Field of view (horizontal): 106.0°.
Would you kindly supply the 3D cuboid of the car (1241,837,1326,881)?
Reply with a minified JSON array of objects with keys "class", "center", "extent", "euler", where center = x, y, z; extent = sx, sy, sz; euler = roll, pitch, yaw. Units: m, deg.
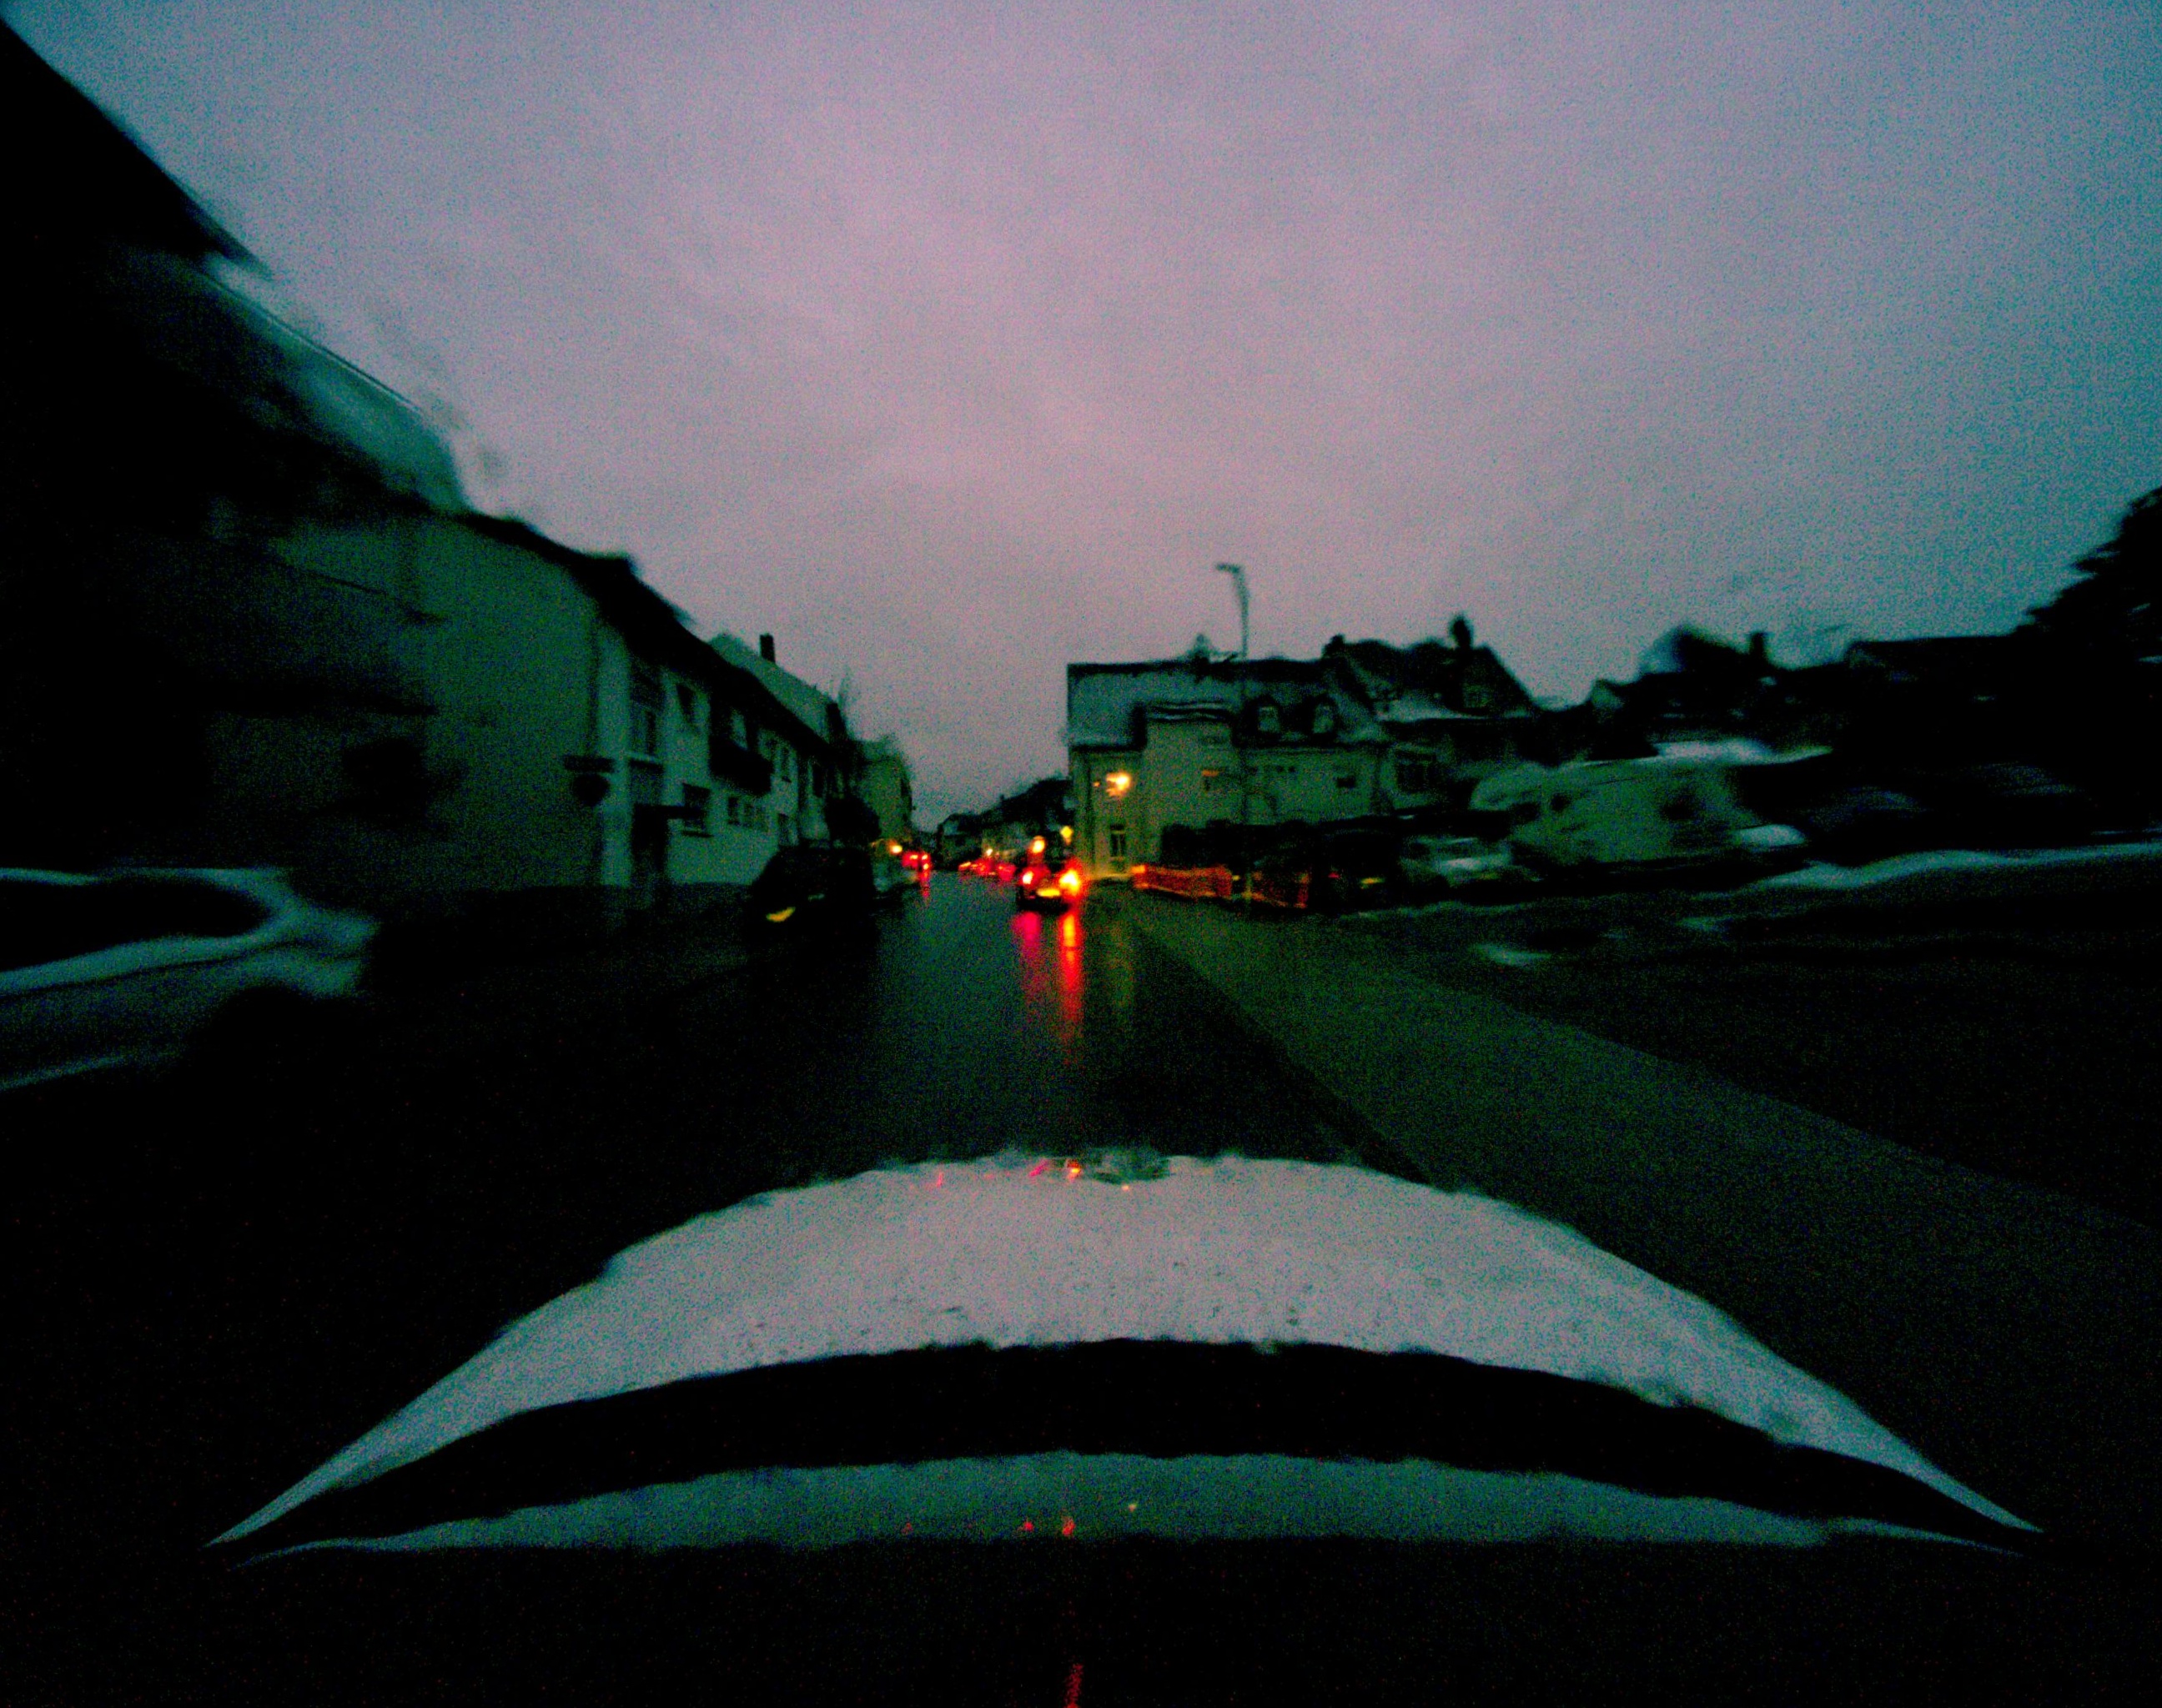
[{"class":"car","center":[7.562,0.177,30.744],"extent":[1.721,1.462,3.621],"euler":[-4,0,-9]}]

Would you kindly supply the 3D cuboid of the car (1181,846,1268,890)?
[{"class":"car","center":[5.153,0.481,29.736],"extent":[1.888,1.462,3.618],"euler":[-2,0,-12]}]

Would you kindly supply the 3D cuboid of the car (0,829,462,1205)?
[{"class":"car","center":[-6.294,0.812,4.141],"extent":[1.985,1.843,5.308],"euler":[-1,0,4]}]

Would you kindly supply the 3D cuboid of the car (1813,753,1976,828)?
[{"class":"car","center":[29.474,-2.215,29.730],"extent":[1.877,2.333,4.259],"euler":[-4,0,6]}]

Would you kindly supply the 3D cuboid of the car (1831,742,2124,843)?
[{"class":"car","center":[20.967,-1.308,19.451],"extent":[1.770,1.884,4.806],"euler":[-5,0,4]}]

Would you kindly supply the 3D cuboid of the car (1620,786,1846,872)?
[{"class":"car","center":[14.904,-0.514,18.949],"extent":[1.784,1.553,3.996],"euler":[-8,0,-2]}]

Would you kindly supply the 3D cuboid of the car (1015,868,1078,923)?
[{"class":"car","center":[-1.168,1.244,25.902],"extent":[1.812,1.533,3.993],"euler":[-1,0,-5]}]

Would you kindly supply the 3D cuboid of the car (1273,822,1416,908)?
[{"class":"car","center":[6.374,0.240,20.270],"extent":[1.988,1.765,4.348],"euler":[-4,0,-1]}]

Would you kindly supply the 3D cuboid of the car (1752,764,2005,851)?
[{"class":"car","center":[18.267,-0.980,18.976],"extent":[1.985,1.606,4.004],"euler":[-6,0,4]}]

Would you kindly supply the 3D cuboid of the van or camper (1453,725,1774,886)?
[{"class":"van or camper","center":[12.363,-0.976,19.856],"extent":[2.649,3.047,6.717],"euler":[-5,0,-7]}]

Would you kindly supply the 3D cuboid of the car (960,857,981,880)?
[{"class":"car","center":[-11.085,1.434,81.736],"extent":[1.992,2.202,3.990],"euler":[-1,0,-7]}]

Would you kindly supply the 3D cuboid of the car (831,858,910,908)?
[{"class":"car","center":[-7.461,0.980,29.309],"extent":[1.908,1.529,4.540],"euler":[2,0,-4]}]

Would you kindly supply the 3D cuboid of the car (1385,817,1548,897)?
[{"class":"car","center":[9.211,0.104,19.890],"extent":[1.986,1.610,4.175],"euler":[-4,-1,1]}]

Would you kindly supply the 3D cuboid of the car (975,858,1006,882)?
[{"class":"car","center":[-6.586,1.111,58.722],"extent":[1.993,1.588,3.987],"euler":[-1,0,-9]}]
